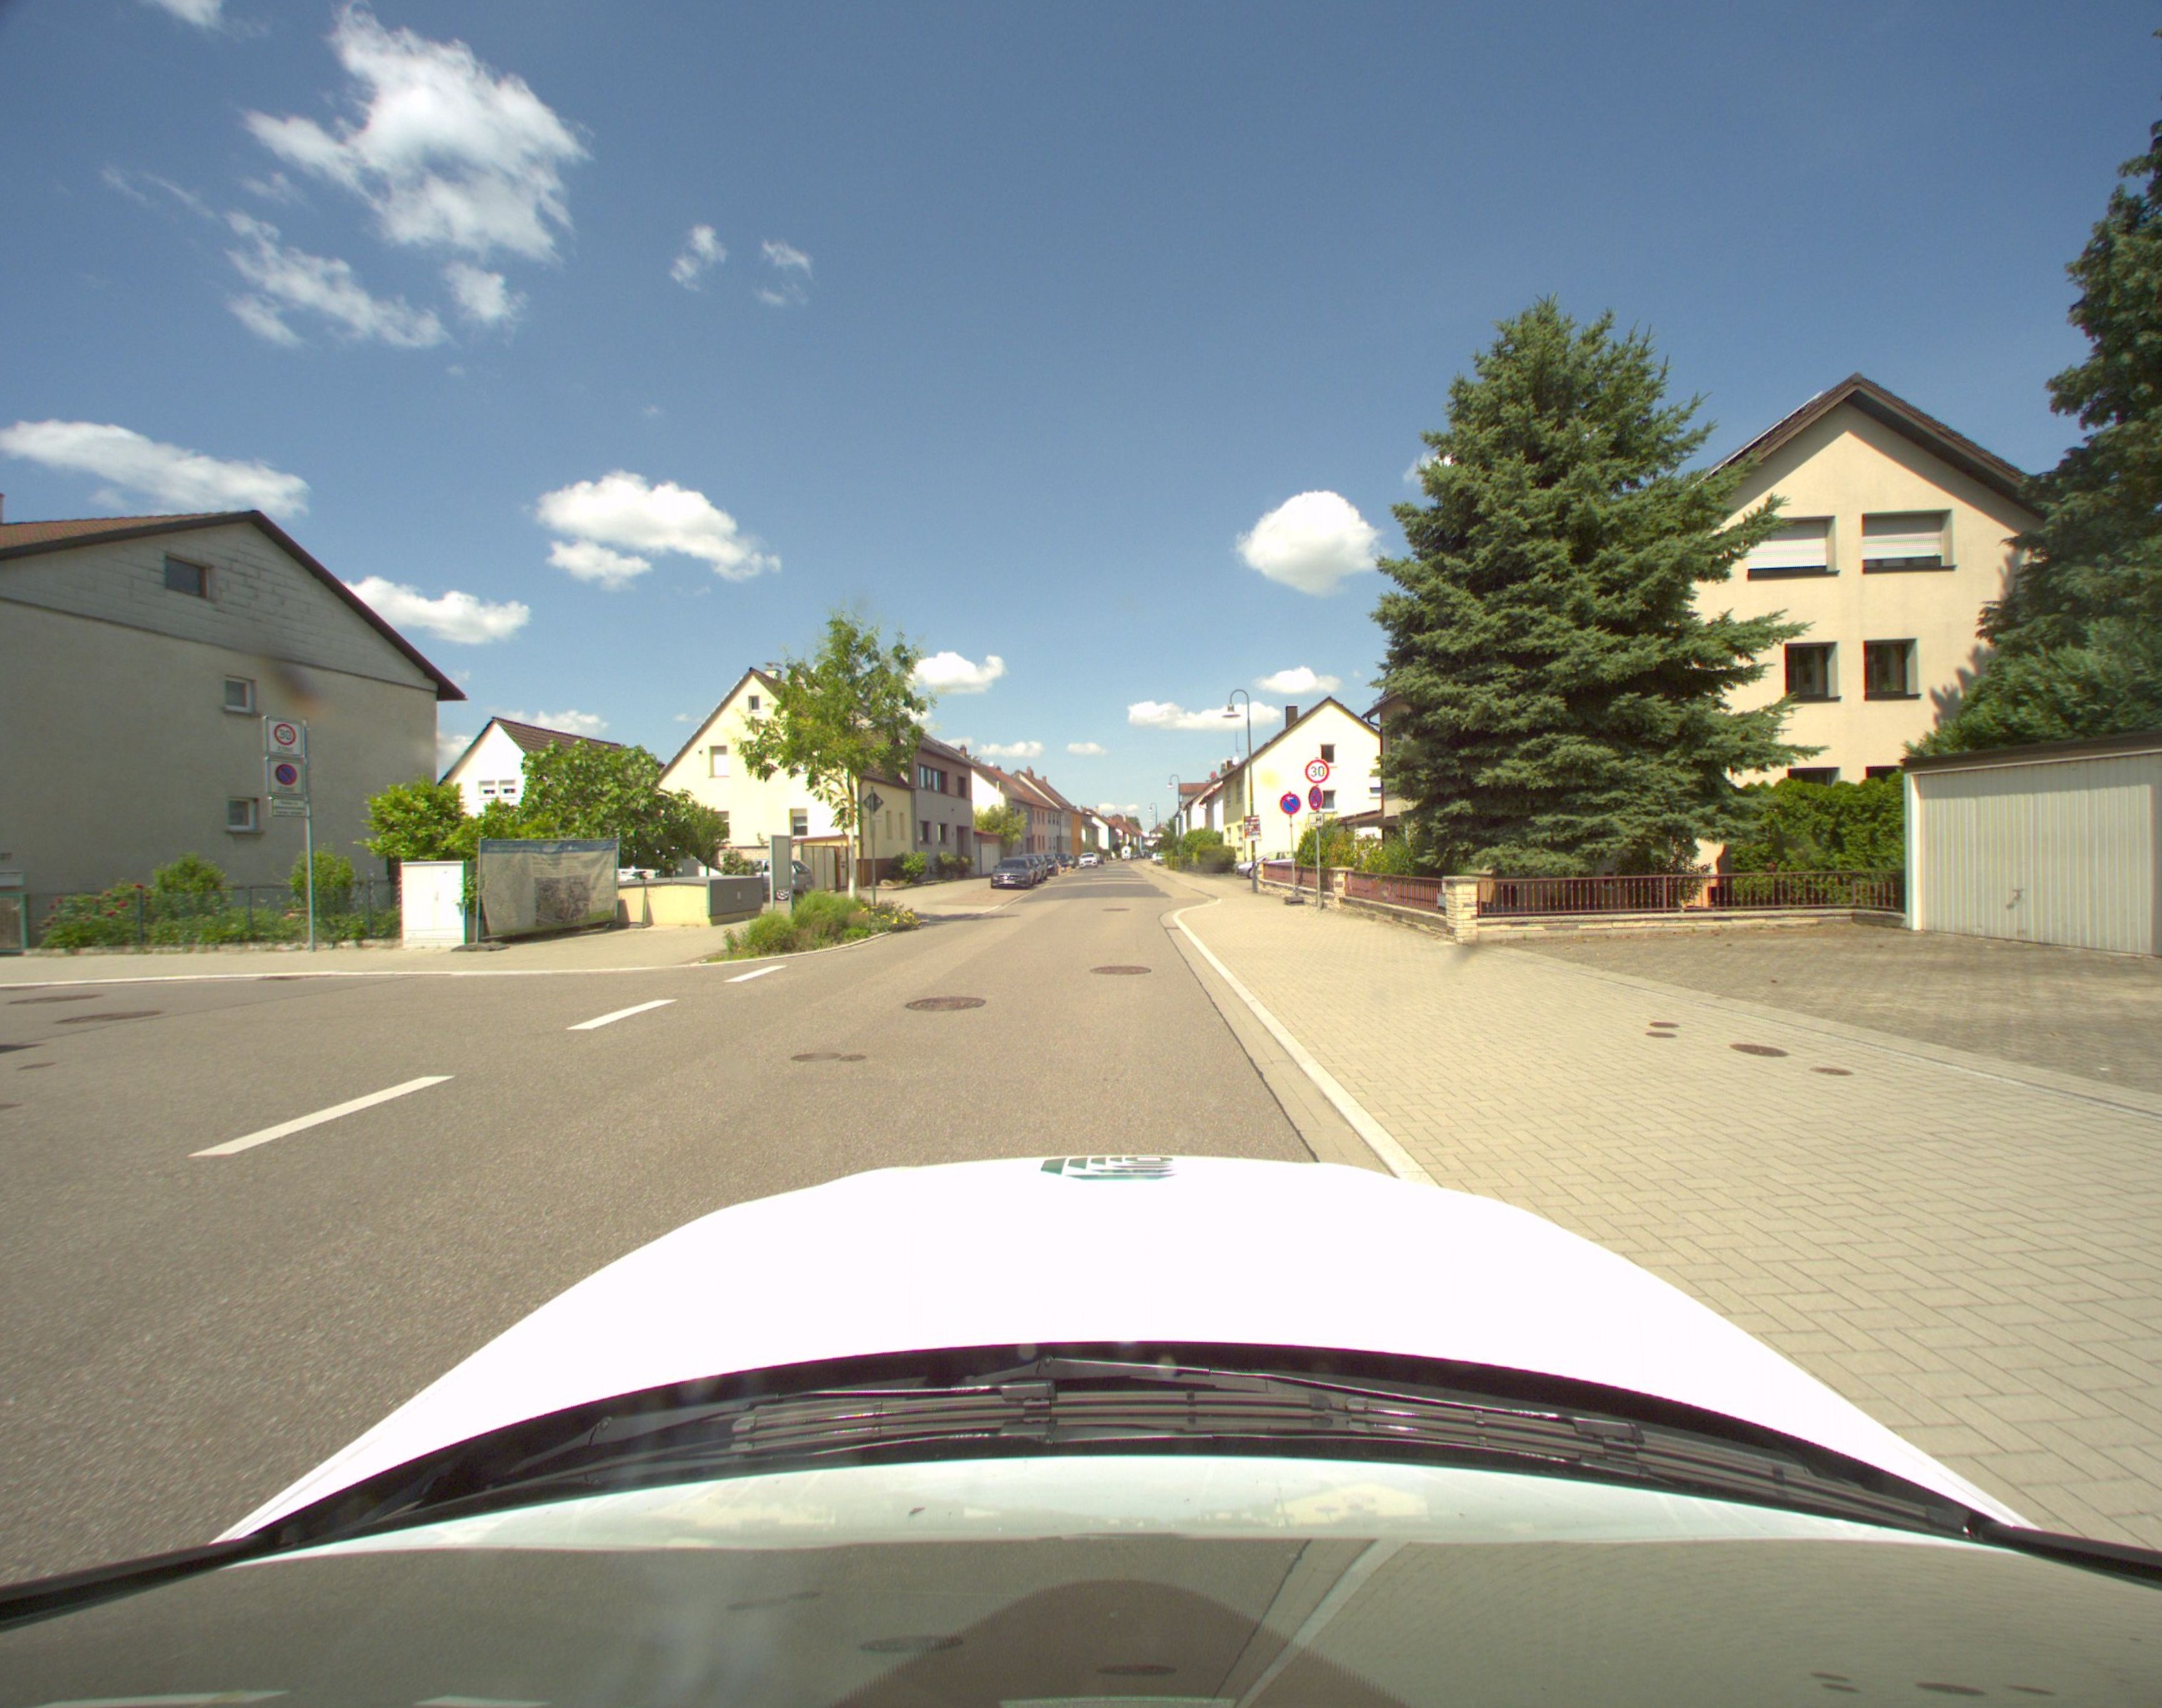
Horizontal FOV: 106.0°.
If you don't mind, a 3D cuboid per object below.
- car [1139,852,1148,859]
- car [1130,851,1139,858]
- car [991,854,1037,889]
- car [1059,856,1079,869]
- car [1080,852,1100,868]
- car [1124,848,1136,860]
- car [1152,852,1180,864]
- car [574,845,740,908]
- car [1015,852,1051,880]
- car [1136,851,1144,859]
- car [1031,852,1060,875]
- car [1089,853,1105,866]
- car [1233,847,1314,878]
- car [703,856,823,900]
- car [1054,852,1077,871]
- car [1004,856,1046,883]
[{"bbox_3d":[13.185,0.349,172.020,1.682,1.341,3.778,0,-1,7],"label":"car"},{"bbox_3d":[11.791,0.128,179.831,1.682,1.504,3.778,0,-1,7],"label":"car"},{"bbox_3d":[-3.174,0.805,39.408,1.810,1.433,4.140,2,1,0],"label":"car"},{"bbox_3d":[-1.235,0.850,87.342,1.664,1.336,3.728,1,0,6],"label":"car"},{"bbox_3d":[1.011,0.675,88.228,1.841,1.659,4.006,1,0,6],"label":"car"},{"bbox_3d":[9.513,0.045,157.827,2.034,2.312,3.778,0,-1,7],"label":"car"},{"bbox_3d":[10.817,0.517,103.673,3.508,1.464,1.630,0,-1,3],"label":"car"},{"bbox_3d":[-12.751,0.635,24.662,3.969,1.800,2.002,0,0,4],"label":"car"},{"bbox_3d":[-2.930,0.717,50.715,1.771,1.609,4.004,1,0,3],"label":"car"},{"bbox_3d":[13.512,0.196,187.241,1.682,1.660,3.778,0,-1,7],"label":"car"},{"bbox_3d":[-2.595,0.687,60.401,1.771,1.609,4.004,1,0,3],"label":"car"},{"bbox_3d":[2.180,0.740,109.230,1.841,1.659,4.006,1,0,6],"label":"car"},{"bbox_3d":[10.217,0.445,43.426,3.970,1.473,1.748,-2,0,3],"label":"car"},{"bbox_3d":[-11.215,0.809,28.867,3.506,1.471,1.795,0,0,7],"label":"car"},{"bbox_3d":[-1.398,0.679,75.157,1.803,1.609,4.004,1,0,3],"label":"car"},{"bbox_3d":[-3.048,0.821,45.038,1.808,1.433,4.143,1,0,3],"label":"car"}]
